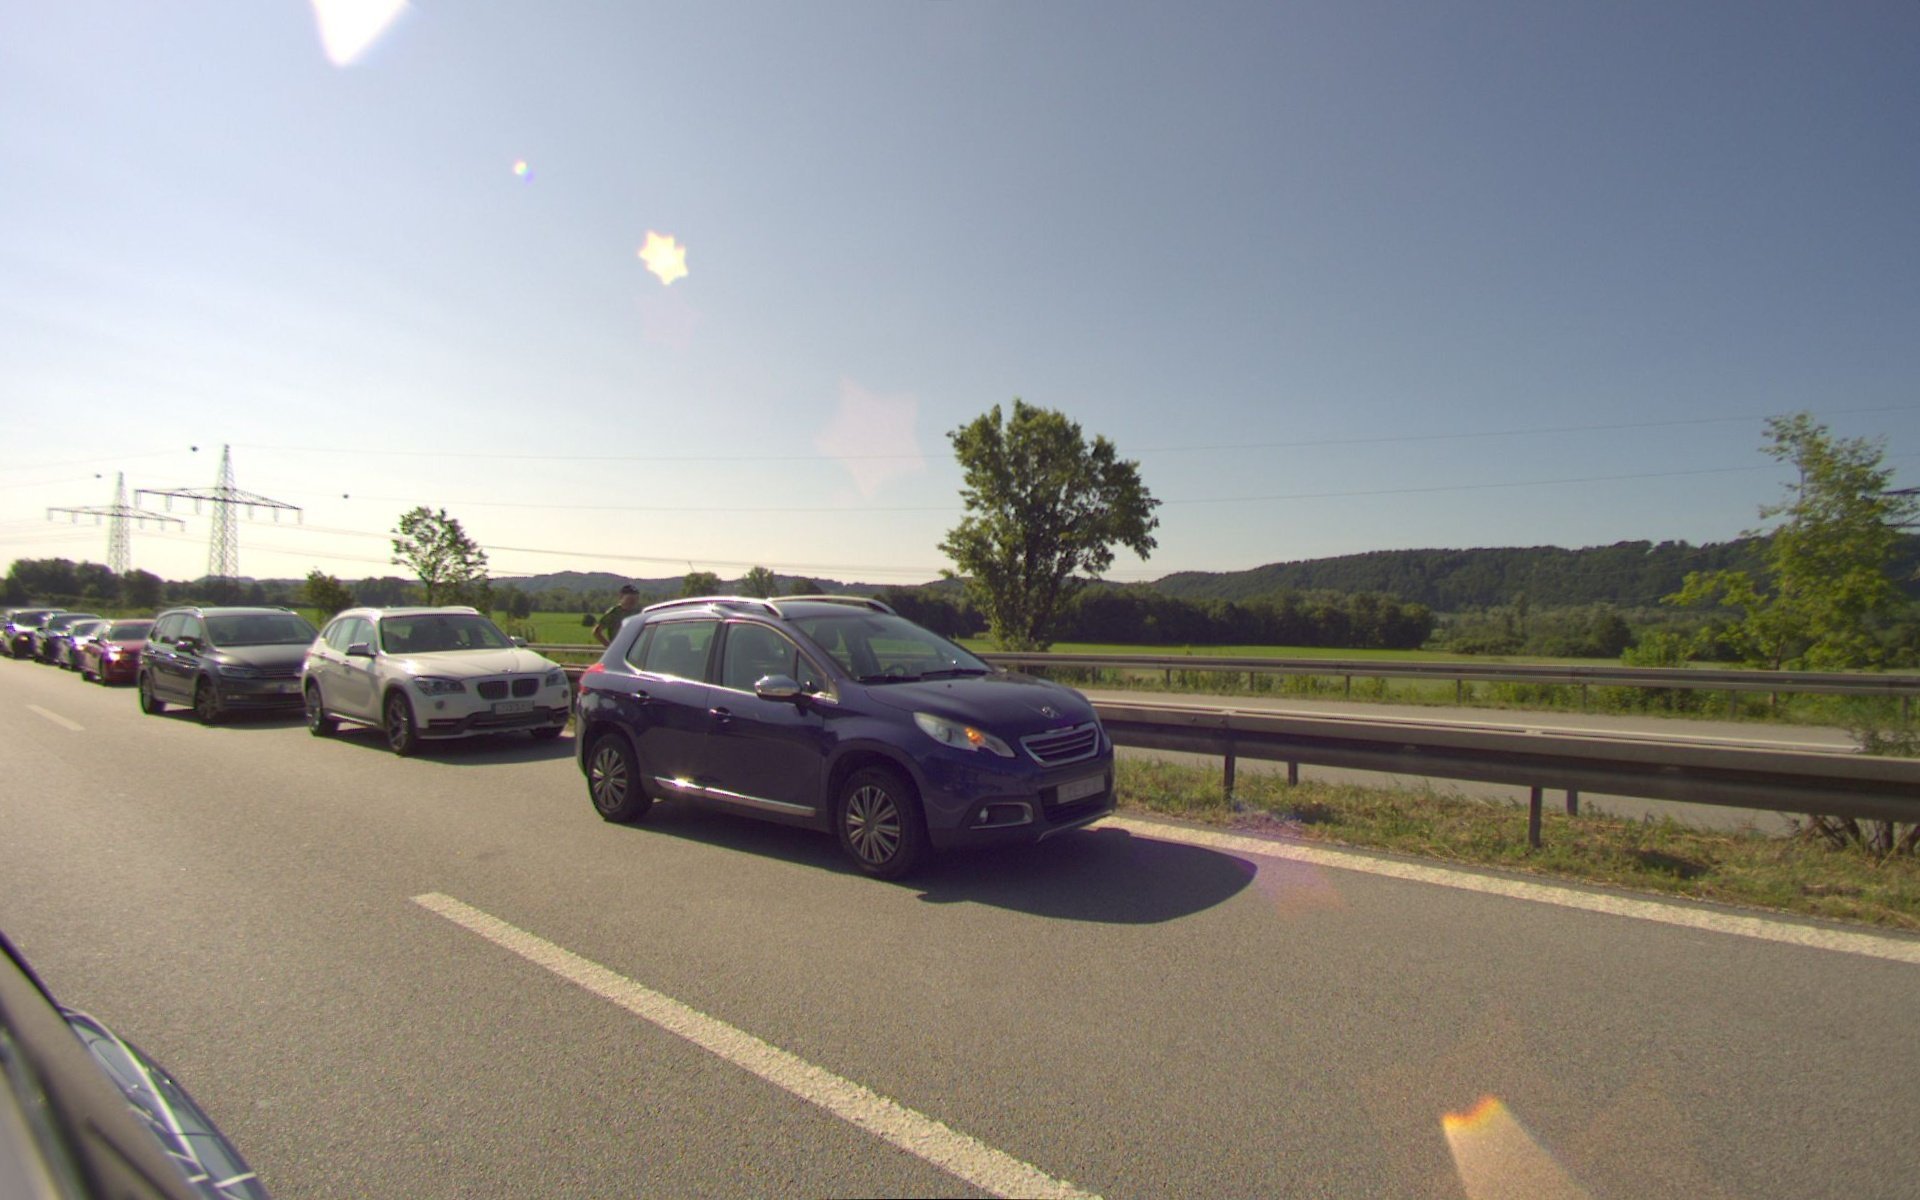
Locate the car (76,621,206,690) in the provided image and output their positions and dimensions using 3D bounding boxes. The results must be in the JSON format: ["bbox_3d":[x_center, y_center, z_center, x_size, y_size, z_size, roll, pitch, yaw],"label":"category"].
[{"bbox_3d":[-19.173,1.234,23.641,4.117,1.470,1.795,-1,-2,43],"label":"car"}]

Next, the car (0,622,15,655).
[{"bbox_3d":[-47.513,1.865,49.125,3.998,1.542,1.973,-1,-2,41],"label":"car"}]

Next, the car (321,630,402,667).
[{"bbox_3d":[-25.427,2.037,42.951,4.565,1.424,1.694,-1,-1,42],"label":"car"}]

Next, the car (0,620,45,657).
[{"bbox_3d":[-40.514,1.617,43.022,3.998,1.542,1.973,-1,-2,41],"label":"car"}]

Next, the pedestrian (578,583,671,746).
[{"bbox_3d":[-3.801,0.708,11.462,0.814,1.764,0.663,-1,-2,41],"label":"pedestrian"}]

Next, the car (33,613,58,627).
[{"bbox_3d":[-109.900,2.399,121.616,4.393,1.644,1.838,-1,0,43],"label":"car"}]

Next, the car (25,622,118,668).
[{"bbox_3d":[-29.820,1.476,33.926,3.999,1.466,1.869,-1,-2,42],"label":"car"}]

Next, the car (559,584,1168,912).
[{"bbox_3d":[-0.811,0.721,6.674,3.944,1.546,1.671,-1,0,39],"label":"car"}]

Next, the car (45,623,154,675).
[{"bbox_3d":[-25.357,1.399,29.781,3.998,1.409,1.870,-1,-2,41],"label":"car"}]

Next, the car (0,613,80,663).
[{"bbox_3d":[-35.035,1.429,38.400,4.198,1.801,1.877,-1,-2,41],"label":"car"}]

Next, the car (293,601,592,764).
[{"bbox_3d":[-6.207,0.848,11.924,4.163,1.586,1.808,-1,-1,42],"label":"car"}]

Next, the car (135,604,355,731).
[{"bbox_3d":[-10.832,0.915,15.222,4.115,1.628,1.796,-1,-1,41],"label":"car"}]
